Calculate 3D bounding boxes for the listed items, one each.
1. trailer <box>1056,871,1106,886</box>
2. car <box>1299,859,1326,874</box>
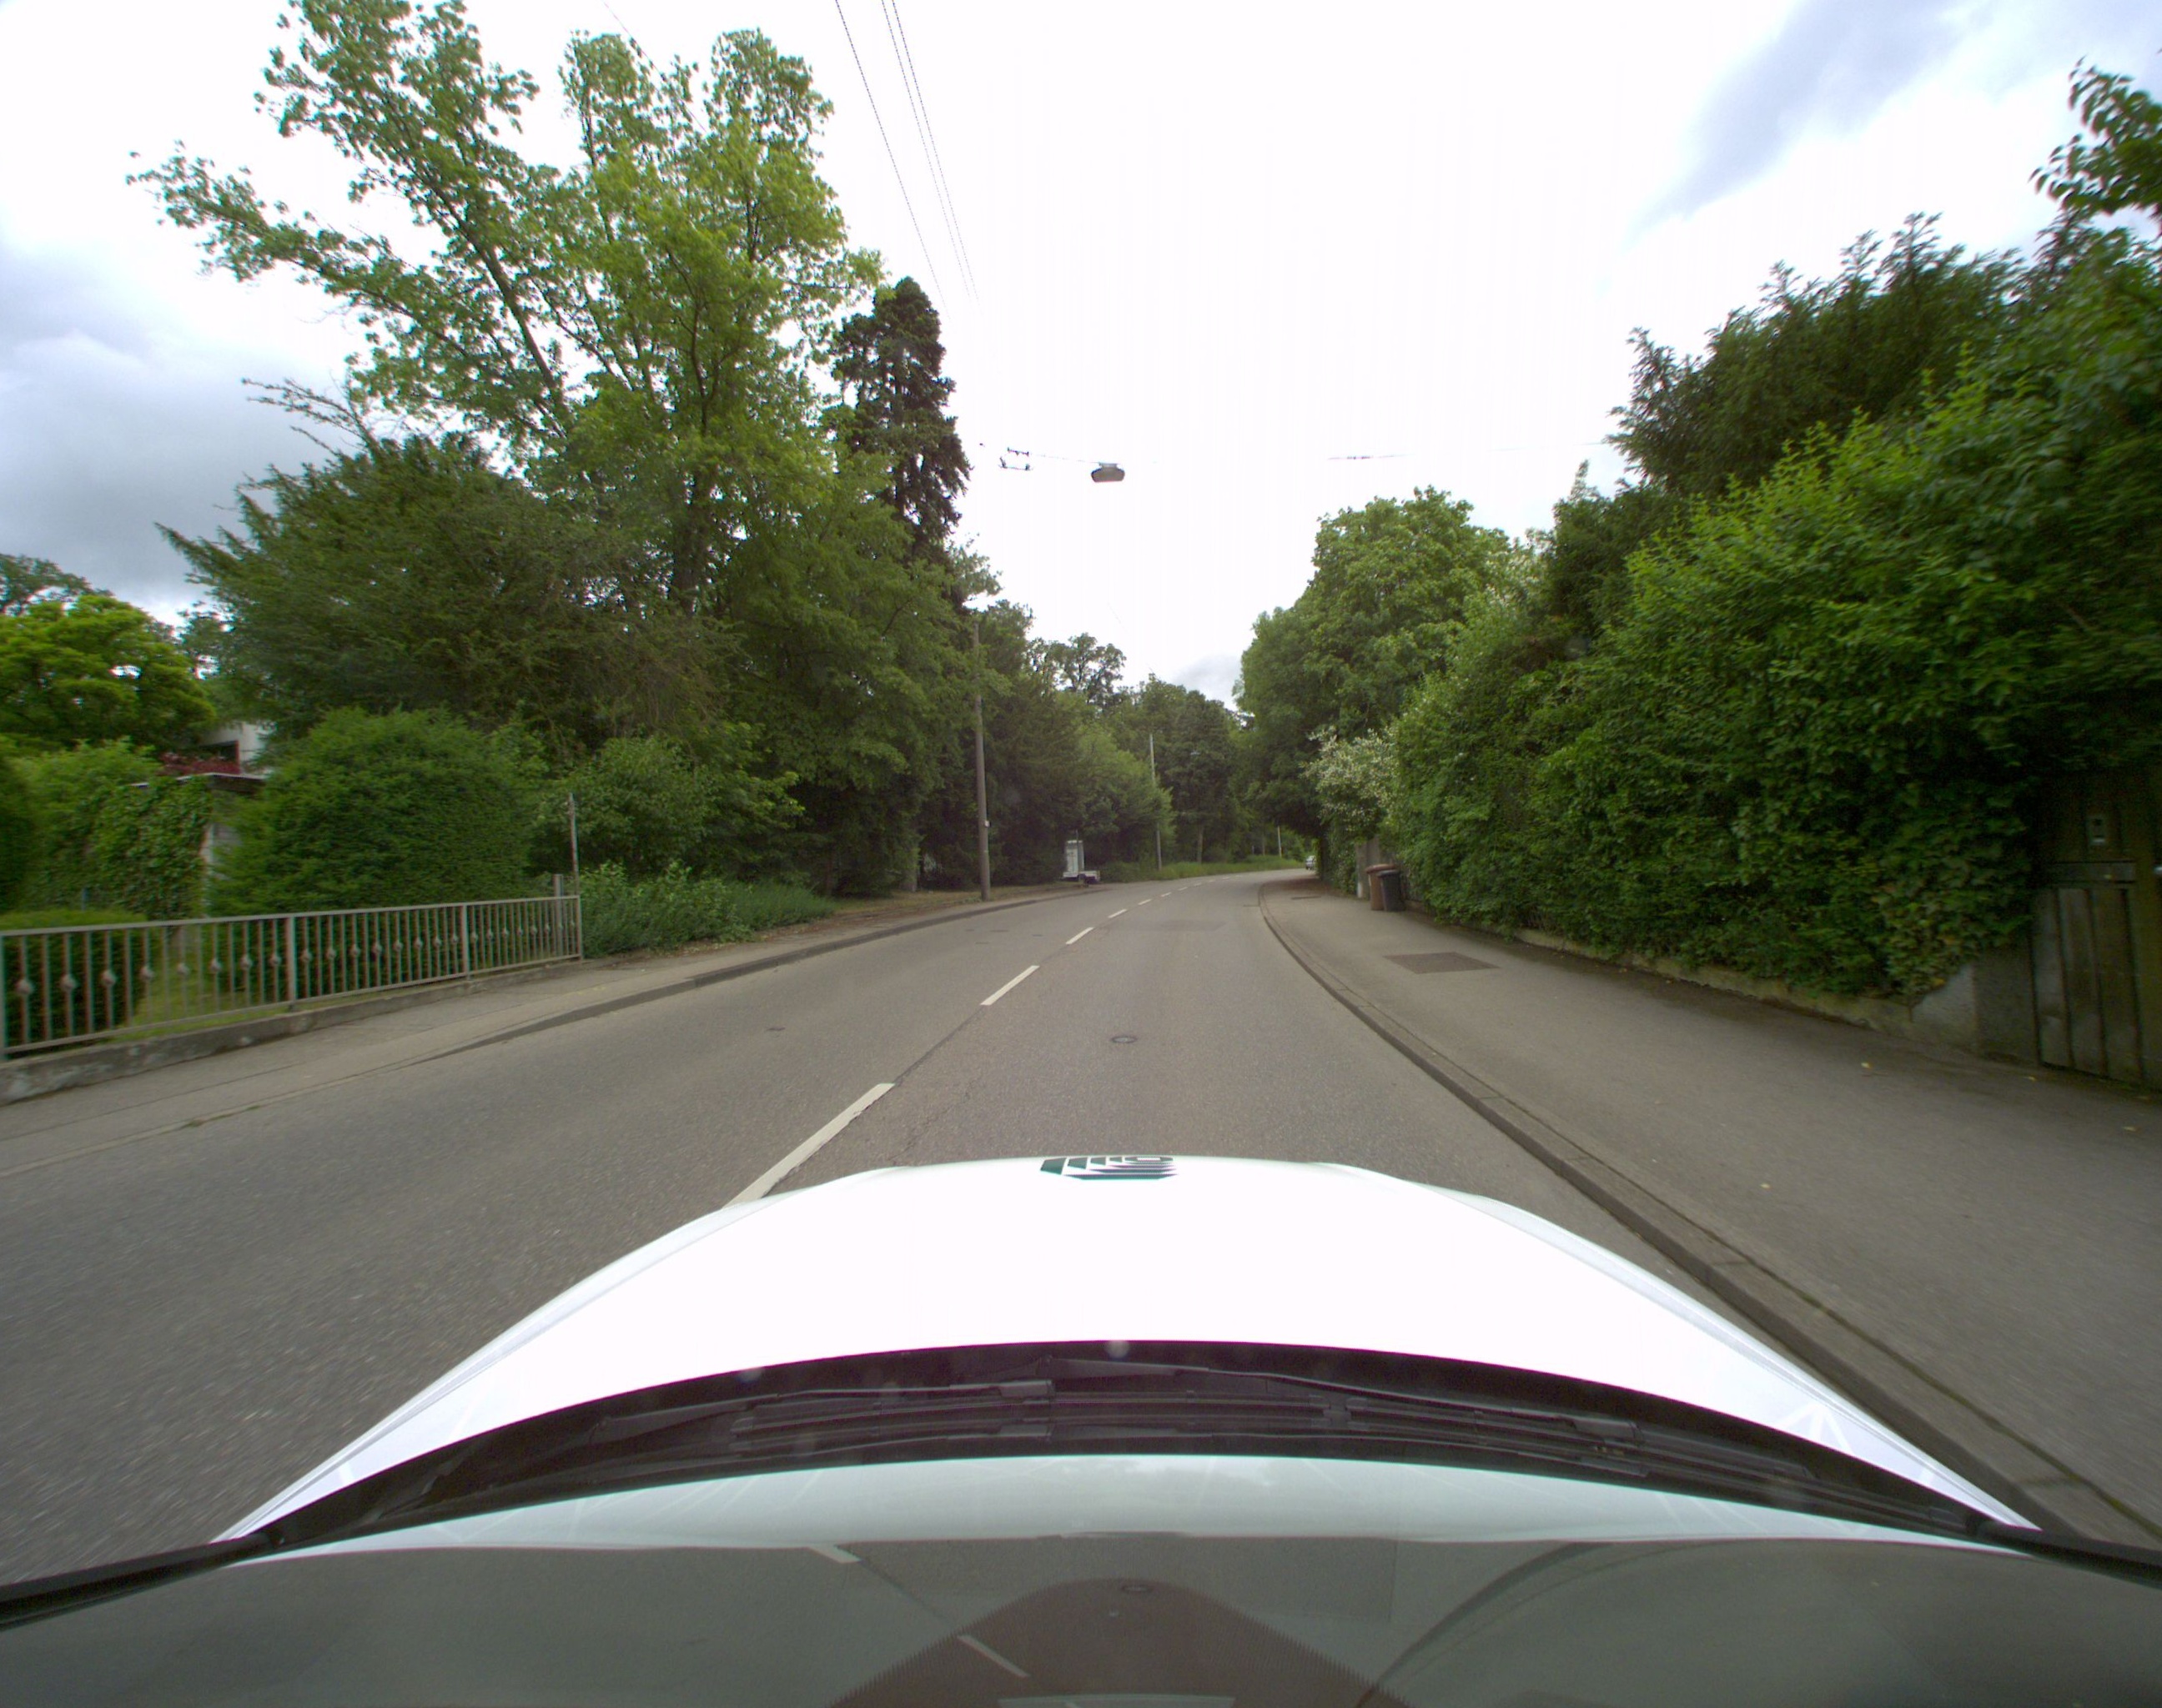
[{"bbox_3d":[0.004,1.525,50.558,2.942,0.829,1.477,-3,-1,3],"label":"trailer"},{"bbox_3d":[24.748,1.349,87.015,1.975,1.486,4.023,-3,-2,26],"label":"car"}]
